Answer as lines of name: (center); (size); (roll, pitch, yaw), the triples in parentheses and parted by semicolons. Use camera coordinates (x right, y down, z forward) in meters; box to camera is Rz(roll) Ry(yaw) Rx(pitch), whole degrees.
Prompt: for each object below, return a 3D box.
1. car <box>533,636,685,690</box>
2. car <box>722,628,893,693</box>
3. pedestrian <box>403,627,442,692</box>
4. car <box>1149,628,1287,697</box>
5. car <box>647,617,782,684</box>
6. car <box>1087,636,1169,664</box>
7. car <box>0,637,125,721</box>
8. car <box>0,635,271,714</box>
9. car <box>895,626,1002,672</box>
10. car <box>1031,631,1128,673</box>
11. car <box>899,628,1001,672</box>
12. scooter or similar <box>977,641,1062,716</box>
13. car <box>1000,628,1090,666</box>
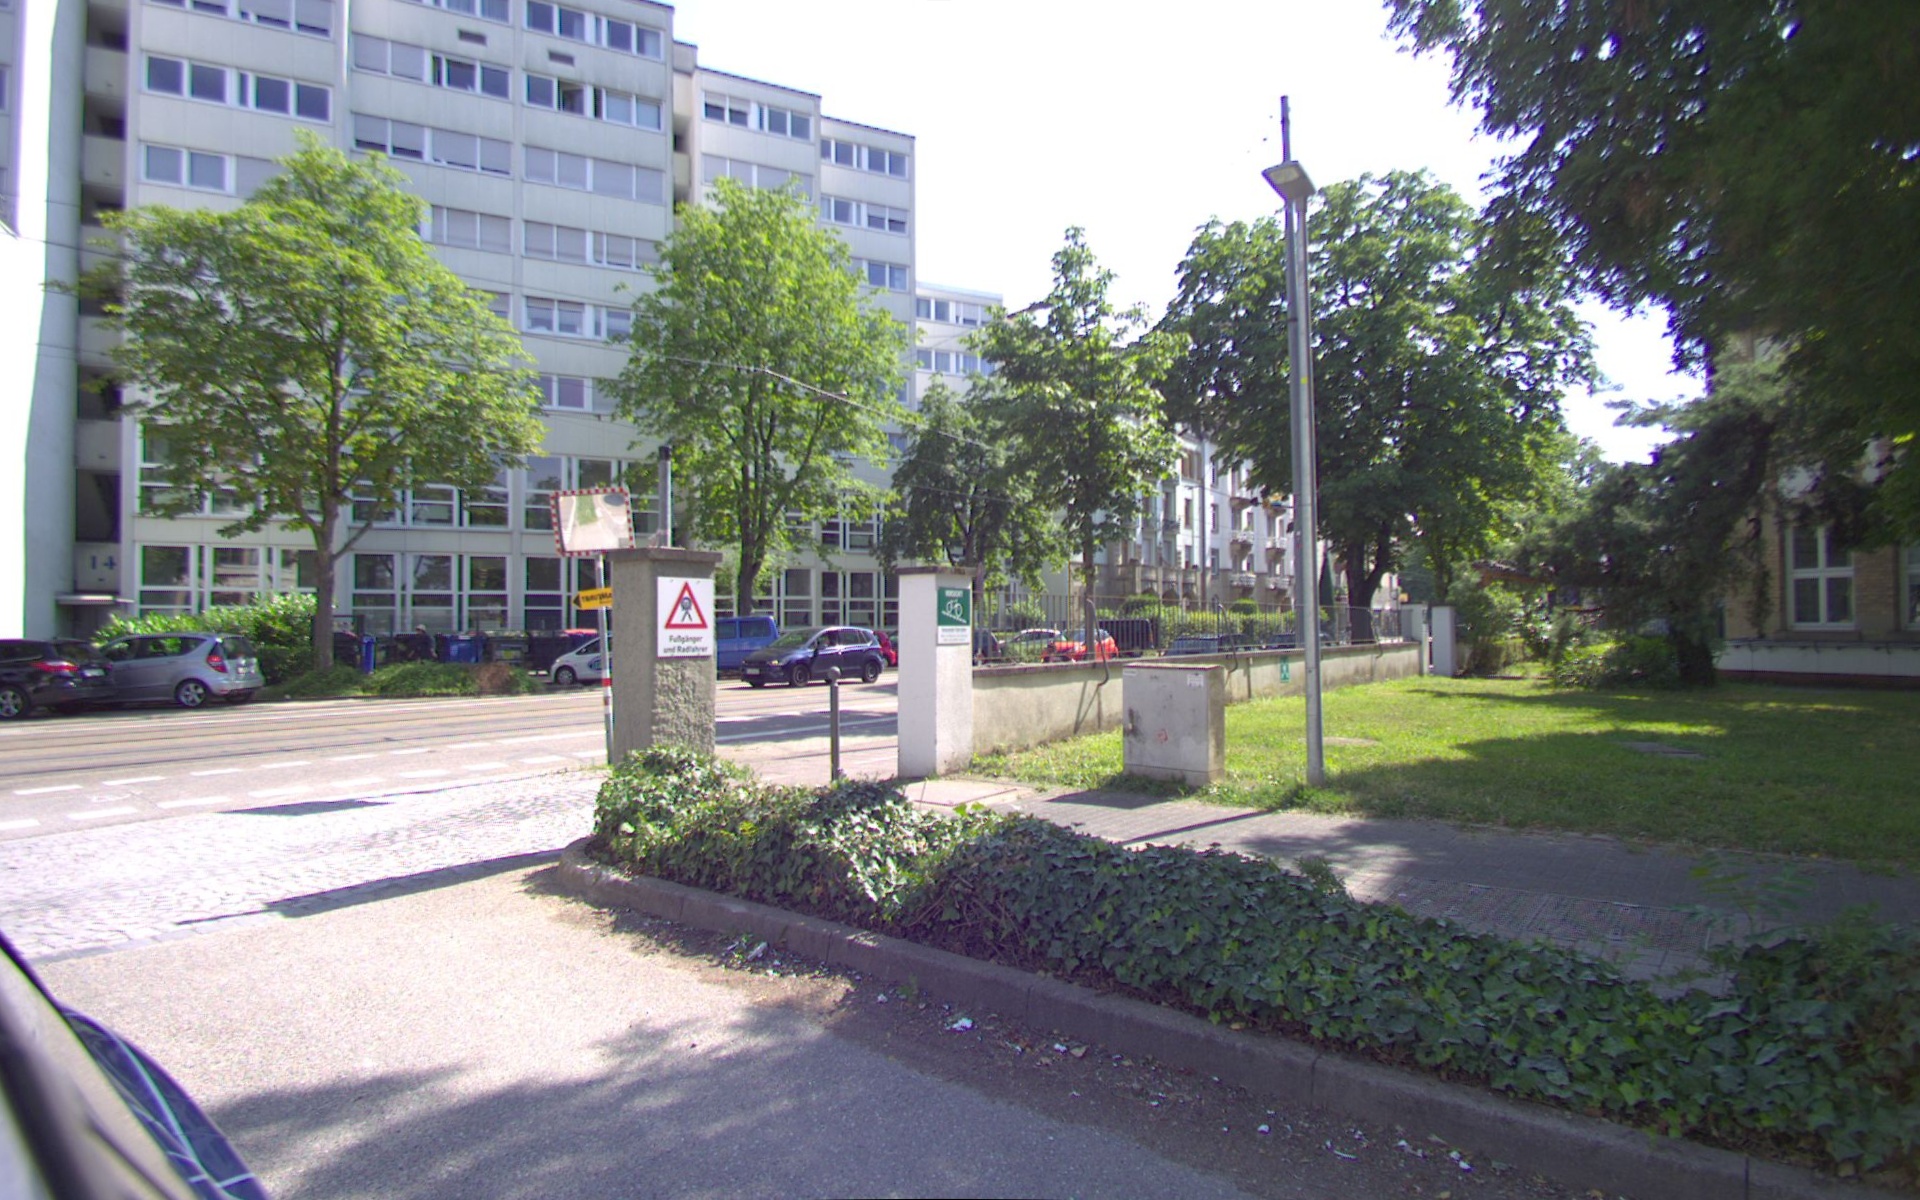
car: (-10.059, 1.793, 29.188); (3.800, 1.475, 1.708); (-1, -2, 4)
car: (-3.949, 1.546, 26.764); (1.940, 1.533, 4.334); (-3, -3, 38)
pedestrian: (-15.257, 1.671, 28.722); (0.730, 1.790, 0.744); (-2, -3, 36)
car: (6.303, 1.454, 24.462); (1.731, 1.487, 3.948); (-3, -3, 38)
car: (-7.608, 1.563, 31.701); (3.937, 1.921, 1.790); (-1, -2, -8)
car: (9.038, 2.688, 54.600); (3.938, 1.428, 1.787); (0, -2, -6)
car: (-18.385, 1.458, 18.767); (4.117, 1.487, 1.805); (-1, -2, -10)
car: (-17.245, 1.515, 21.210); (4.271, 1.497, 1.805); (-1, -2, -7)
car: (-0.485, 1.906, 39.396); (3.937, 1.652, 1.807); (-1, -2, -8)
car: (4.423, 1.879, 36.964); (1.659, 1.423, 4.124); (-3, -3, 36)
car: (-0.446, 2.045, 41.718); (3.937, 1.652, 1.835); (-1, -2, -8)
scooter or similar: (0.999, 1.318, 17.180); (0.486, 1.194, 1.484); (1, -3, -43)
car: (3.943, 2.186, 47.439); (3.940, 1.674, 1.831); (-1, -2, -4)
